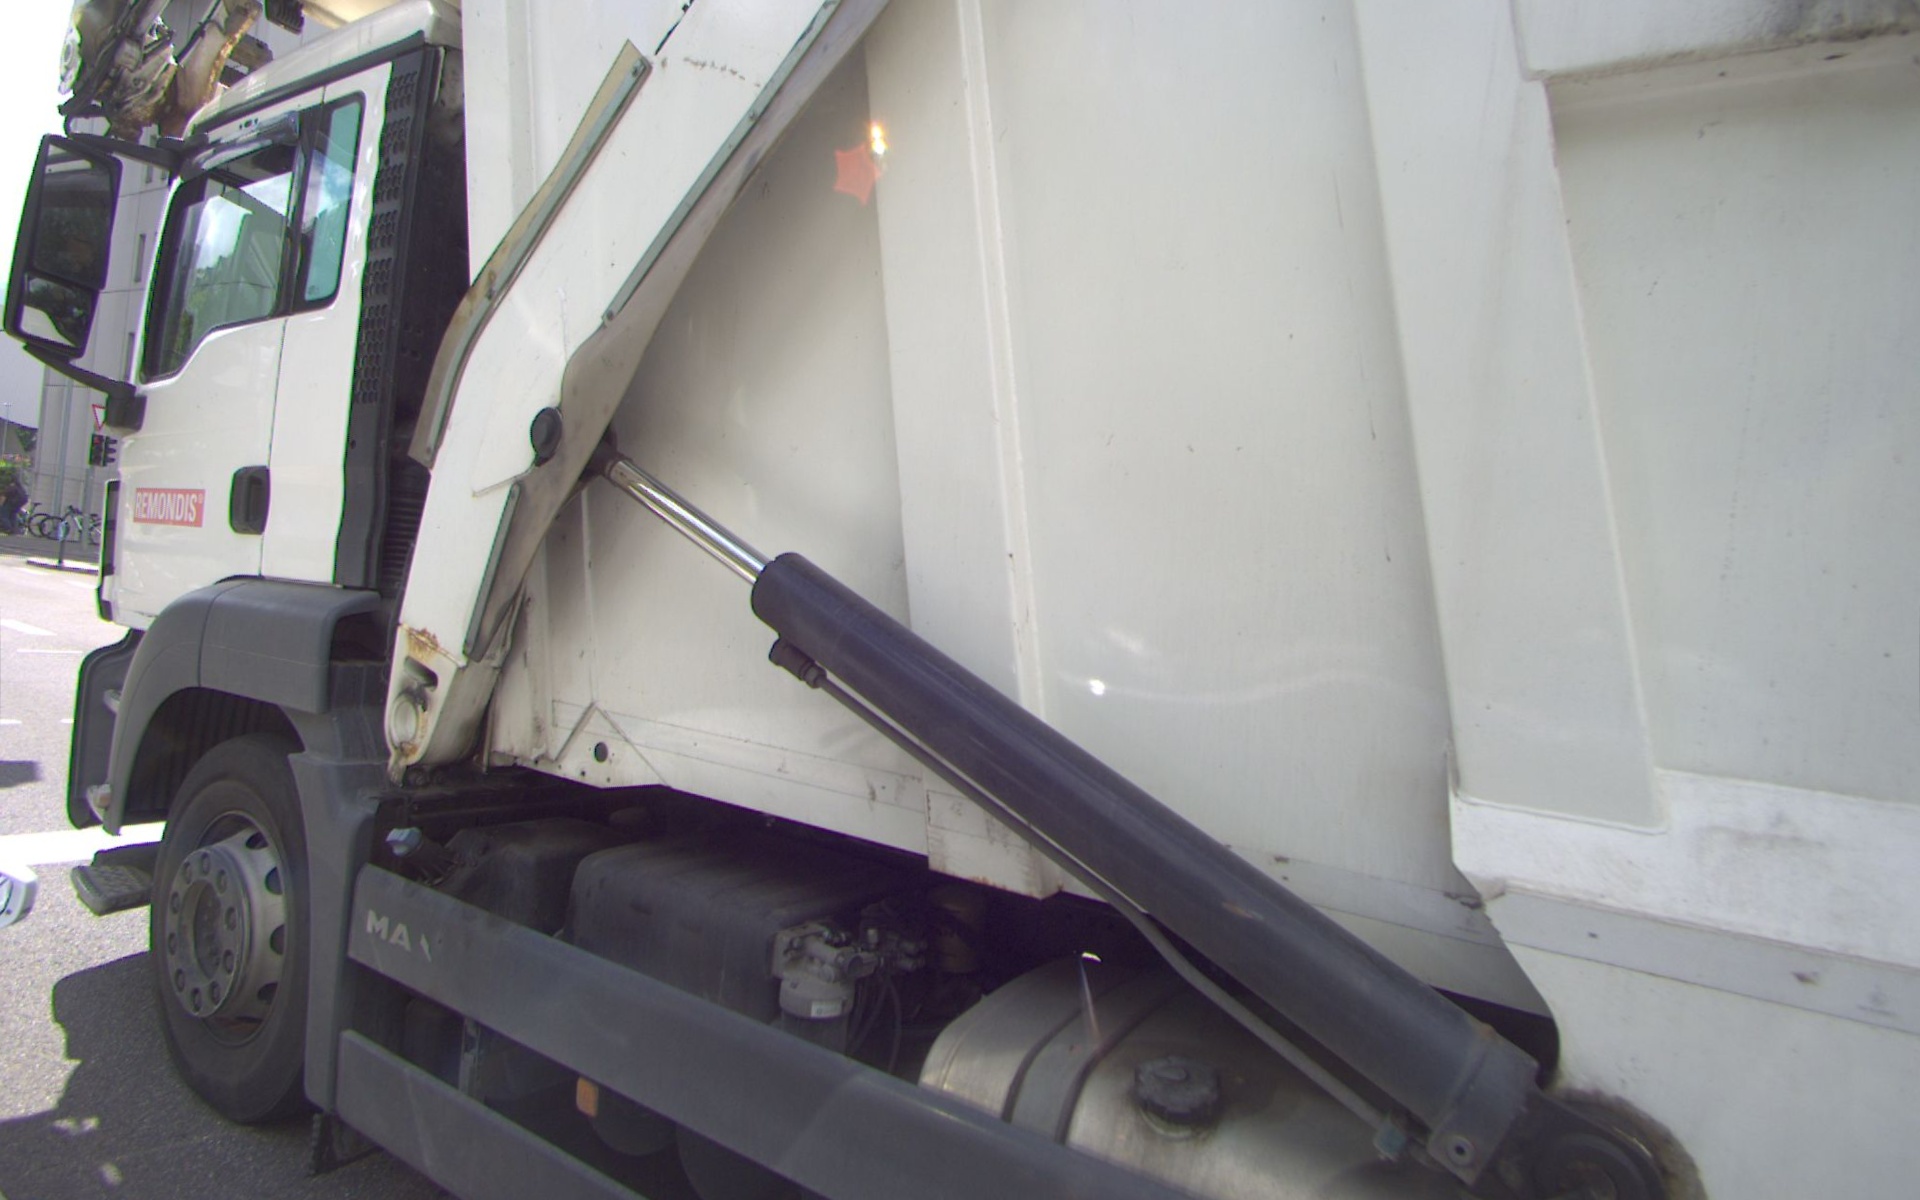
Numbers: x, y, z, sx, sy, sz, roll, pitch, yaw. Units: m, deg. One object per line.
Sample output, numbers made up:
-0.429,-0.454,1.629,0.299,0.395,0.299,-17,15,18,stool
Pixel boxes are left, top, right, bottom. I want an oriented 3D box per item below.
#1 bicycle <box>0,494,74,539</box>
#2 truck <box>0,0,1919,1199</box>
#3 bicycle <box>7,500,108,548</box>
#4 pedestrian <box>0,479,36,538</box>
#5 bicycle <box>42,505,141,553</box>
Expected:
-29.289,-2.639,31.486,2.197,1.099,0.474,8,-1,-23,bicycle
1.922,-0.305,1.667,10.003,3.958,2.494,6,-1,31,truck
-27.953,-2.333,31.201,2.197,1.099,0.474,8,-1,-23,bicycle
-28.471,-2.751,30.254,0.646,1.659,0.535,7,-1,3,pedestrian
-26.794,-2.184,31.078,2.166,1.099,0.474,8,-1,-23,bicycle
